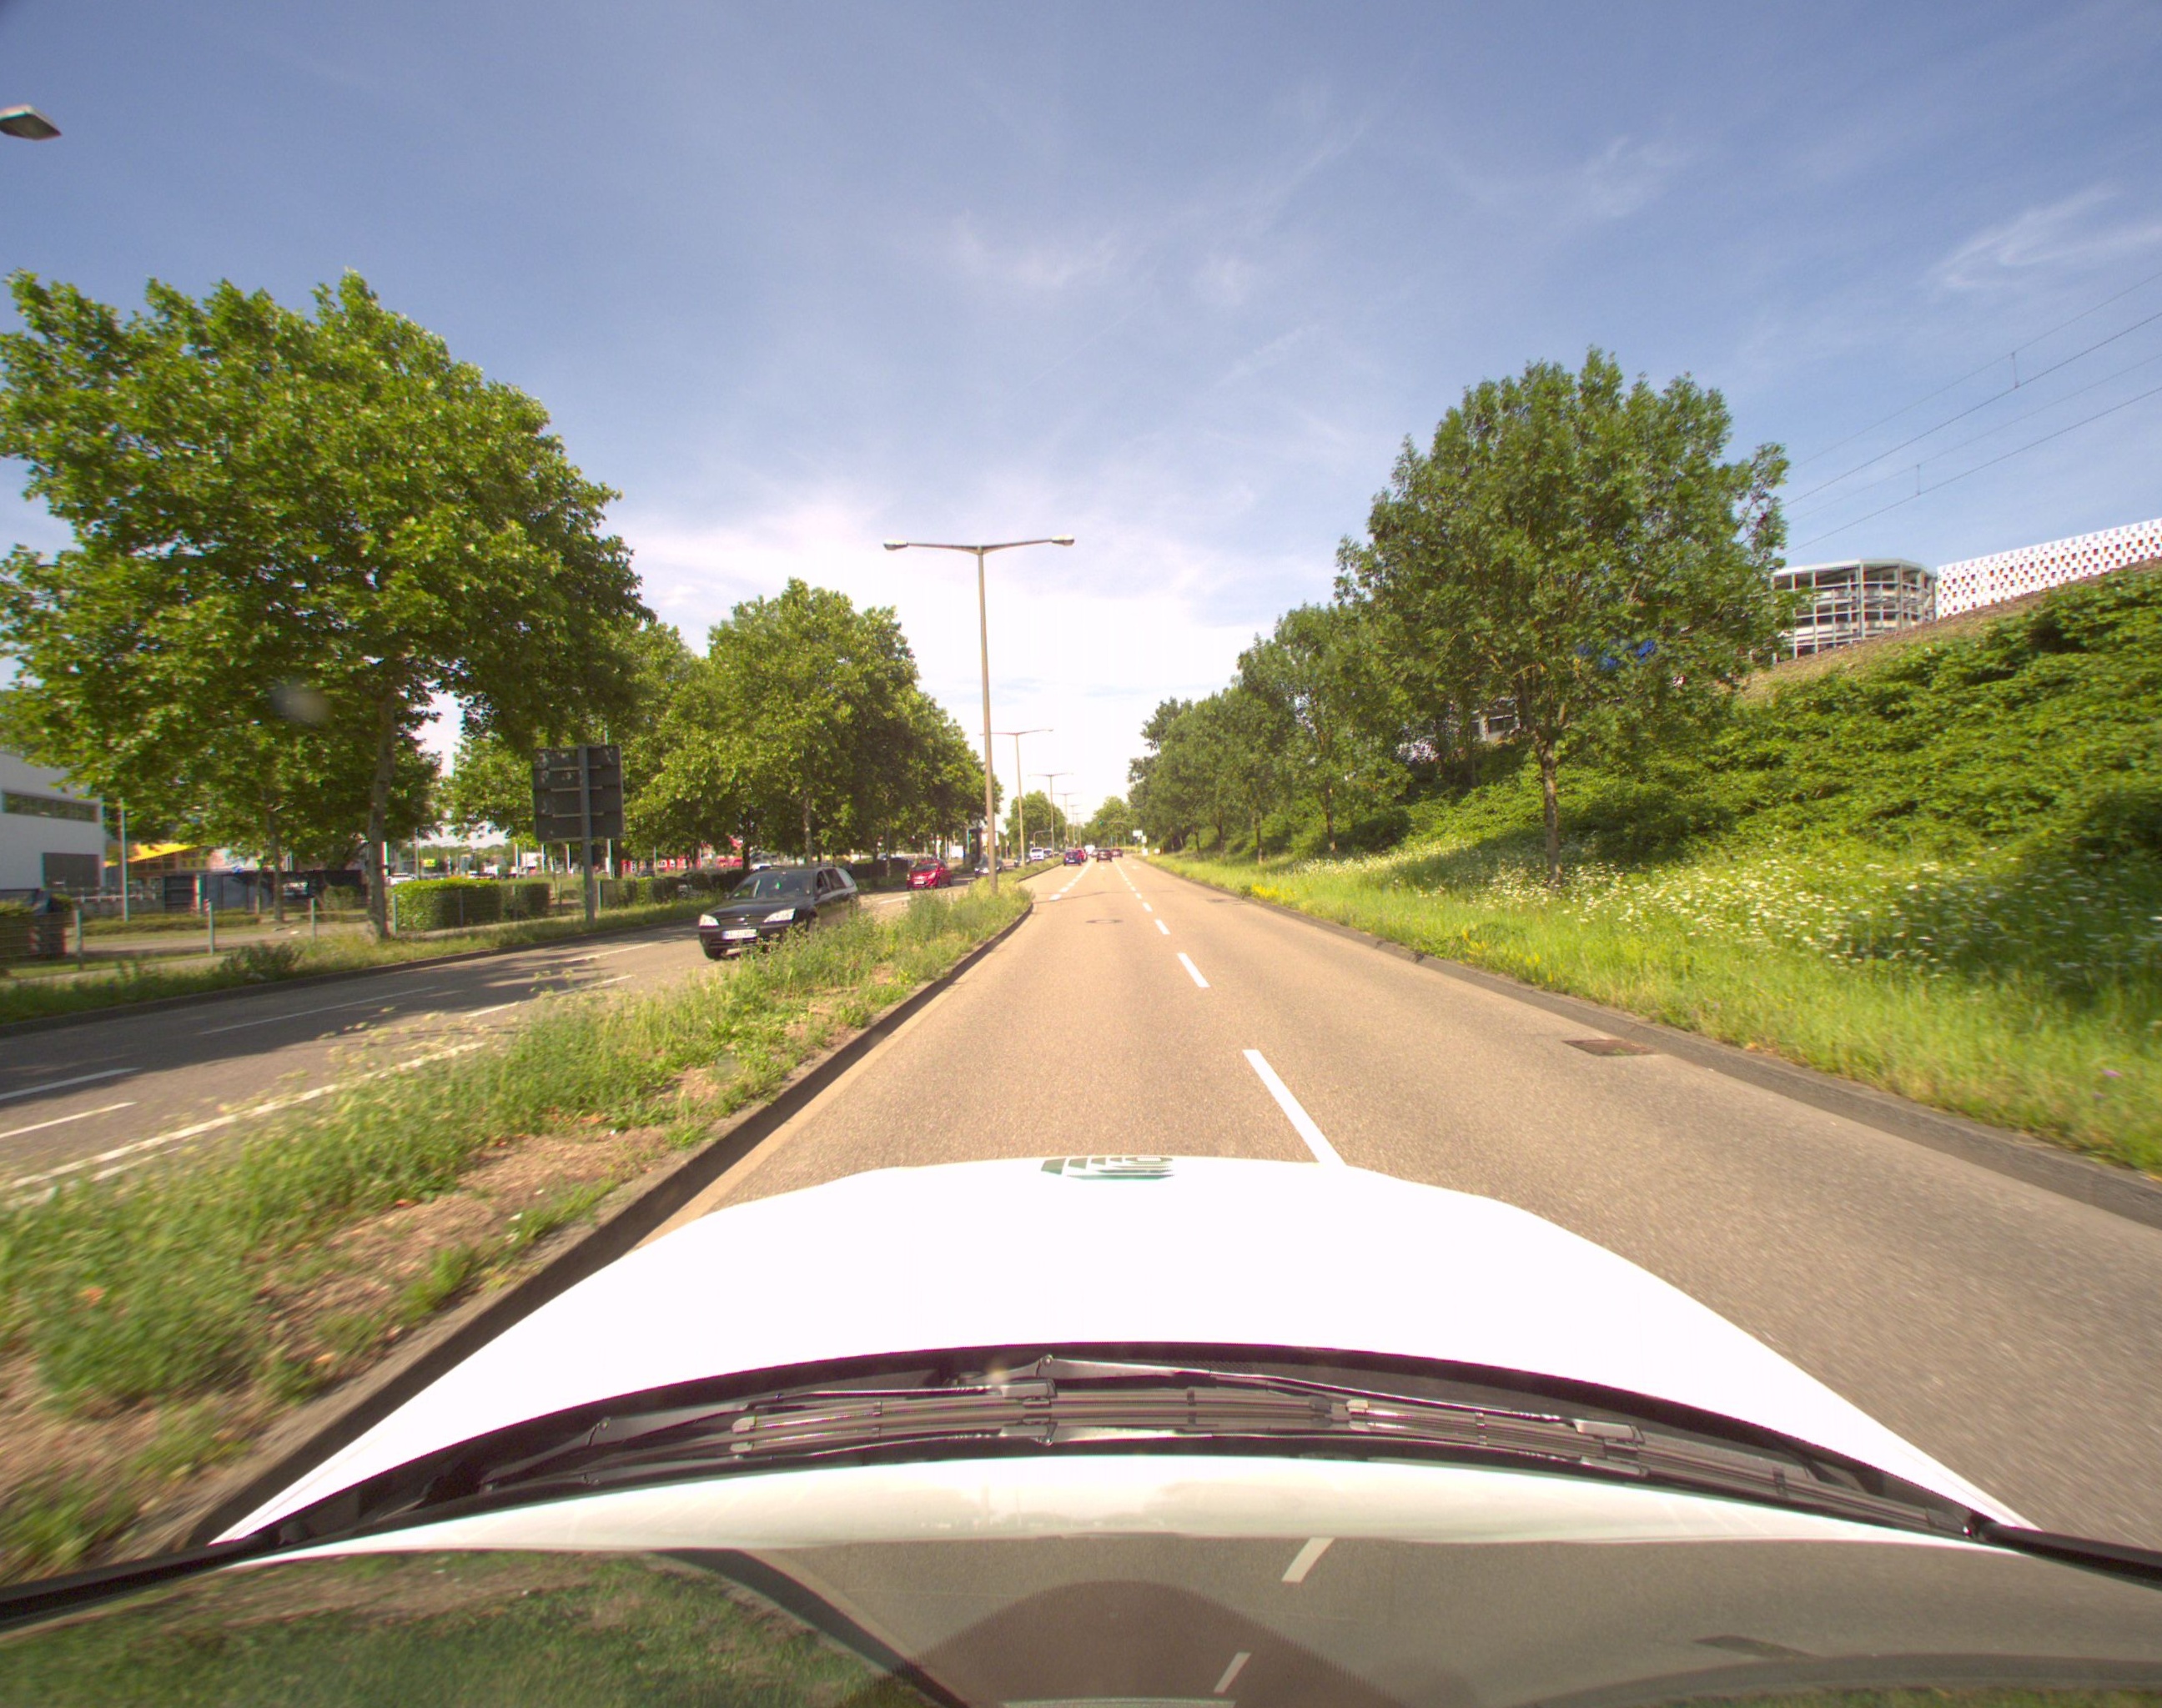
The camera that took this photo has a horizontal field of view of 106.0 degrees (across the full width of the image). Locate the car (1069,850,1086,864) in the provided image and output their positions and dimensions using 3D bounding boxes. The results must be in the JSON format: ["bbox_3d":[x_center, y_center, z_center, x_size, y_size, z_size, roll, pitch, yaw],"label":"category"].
[{"bbox_3d":[-0.399,0.328,96.602,1.776,1.593,4.594,-1,0,1],"label":"car"}]

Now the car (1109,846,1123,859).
[{"bbox_3d":[5.489,-0.287,128.119,2.010,1.837,4.003,-2,2,2],"label":"car"}]

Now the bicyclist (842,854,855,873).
[{"bbox_3d":[-18.751,0.788,65.594,0.679,1.485,0.942,-3,0,1],"label":"bicyclist"}]

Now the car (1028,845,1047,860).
[{"bbox_3d":[-5.904,-0.233,110.876,2.110,1.883,5.419,-3,0,0],"label":"car"}]

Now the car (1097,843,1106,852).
[{"bbox_3d":[5.060,-1.648,204.537,1.988,2.013,3.997,-2,0,-2],"label":"car"}]

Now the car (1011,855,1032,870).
[{"bbox_3d":[-6.263,0.891,85.984,1.762,1.469,4.284,-3,0,1],"label":"car"}]

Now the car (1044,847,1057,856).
[{"bbox_3d":[-5.430,-0.436,146.082,1.986,1.530,4.684,-3,0,2],"label":"car"}]

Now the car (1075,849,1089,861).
[{"bbox_3d":[0.194,0.144,116.667,1.875,1.618,4.213,-2,0,1],"label":"car"}]

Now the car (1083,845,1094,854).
[{"bbox_3d":[1.424,-0.838,151.785,1.986,1.708,4.265,-2,0,2],"label":"car"}]

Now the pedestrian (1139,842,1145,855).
[{"bbox_3d":[9.711,-0.885,130.099,0.835,1.932,0.771,-2,2,-2],"label":"pedestrian"}]

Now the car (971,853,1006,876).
[{"bbox_3d":[-6.521,0.745,57.632,1.833,1.478,4.167,-3,0,1],"label":"car"}]

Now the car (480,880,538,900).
[{"bbox_3d":[-47.245,2.953,67.268,3.955,1.504,1.814,-1,3,17],"label":"car"}]

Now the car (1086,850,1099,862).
[{"bbox_3d":[1.833,0.288,129.412,1.986,1.744,4.267,-3,0,2],"label":"car"}]

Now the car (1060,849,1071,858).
[{"bbox_3d":[-3.267,-0.015,171.149,1.985,1.775,4.004,-3,0,4],"label":"car"}]

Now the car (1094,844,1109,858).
[{"bbox_3d":[2.507,-0.383,98.142,1.730,1.535,4.003,-2,2,2],"label":"car"}]

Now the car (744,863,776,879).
[{"bbox_3d":[-36.050,1.949,91.357,2.010,1.665,4.789,-3,0,-38],"label":"car"}]

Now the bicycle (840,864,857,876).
[{"bbox_3d":[-18.725,1.260,65.625,0.687,0.866,1.927,-3,0,2],"label":"bicycle"}]

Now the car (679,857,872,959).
[{"bbox_3d":[-5.352,0.855,15.008,1.767,1.467,4.669,-3,0,-1],"label":"car"}]

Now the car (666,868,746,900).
[{"bbox_3d":[-23.457,1.870,51.072,3.968,1.823,2.159,-1,-1,5],"label":"car"}]

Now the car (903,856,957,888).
[{"bbox_3d":[-7.966,0.931,43.231,1.755,1.462,4.005,-3,0,4],"label":"car"}]

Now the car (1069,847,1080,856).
[{"bbox_3d":[-1.301,-0.512,163.895,1.985,1.859,4.003,-2,0,3],"label":"car"}]

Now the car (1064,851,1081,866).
[{"bbox_3d":[-0.858,0.445,81.956,1.620,1.483,4.049,0,0,1],"label":"car"}]

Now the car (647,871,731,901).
[{"bbox_3d":[-23.001,1.871,47.855,3.971,1.464,1.773,-3,0,2],"label":"car"}]
